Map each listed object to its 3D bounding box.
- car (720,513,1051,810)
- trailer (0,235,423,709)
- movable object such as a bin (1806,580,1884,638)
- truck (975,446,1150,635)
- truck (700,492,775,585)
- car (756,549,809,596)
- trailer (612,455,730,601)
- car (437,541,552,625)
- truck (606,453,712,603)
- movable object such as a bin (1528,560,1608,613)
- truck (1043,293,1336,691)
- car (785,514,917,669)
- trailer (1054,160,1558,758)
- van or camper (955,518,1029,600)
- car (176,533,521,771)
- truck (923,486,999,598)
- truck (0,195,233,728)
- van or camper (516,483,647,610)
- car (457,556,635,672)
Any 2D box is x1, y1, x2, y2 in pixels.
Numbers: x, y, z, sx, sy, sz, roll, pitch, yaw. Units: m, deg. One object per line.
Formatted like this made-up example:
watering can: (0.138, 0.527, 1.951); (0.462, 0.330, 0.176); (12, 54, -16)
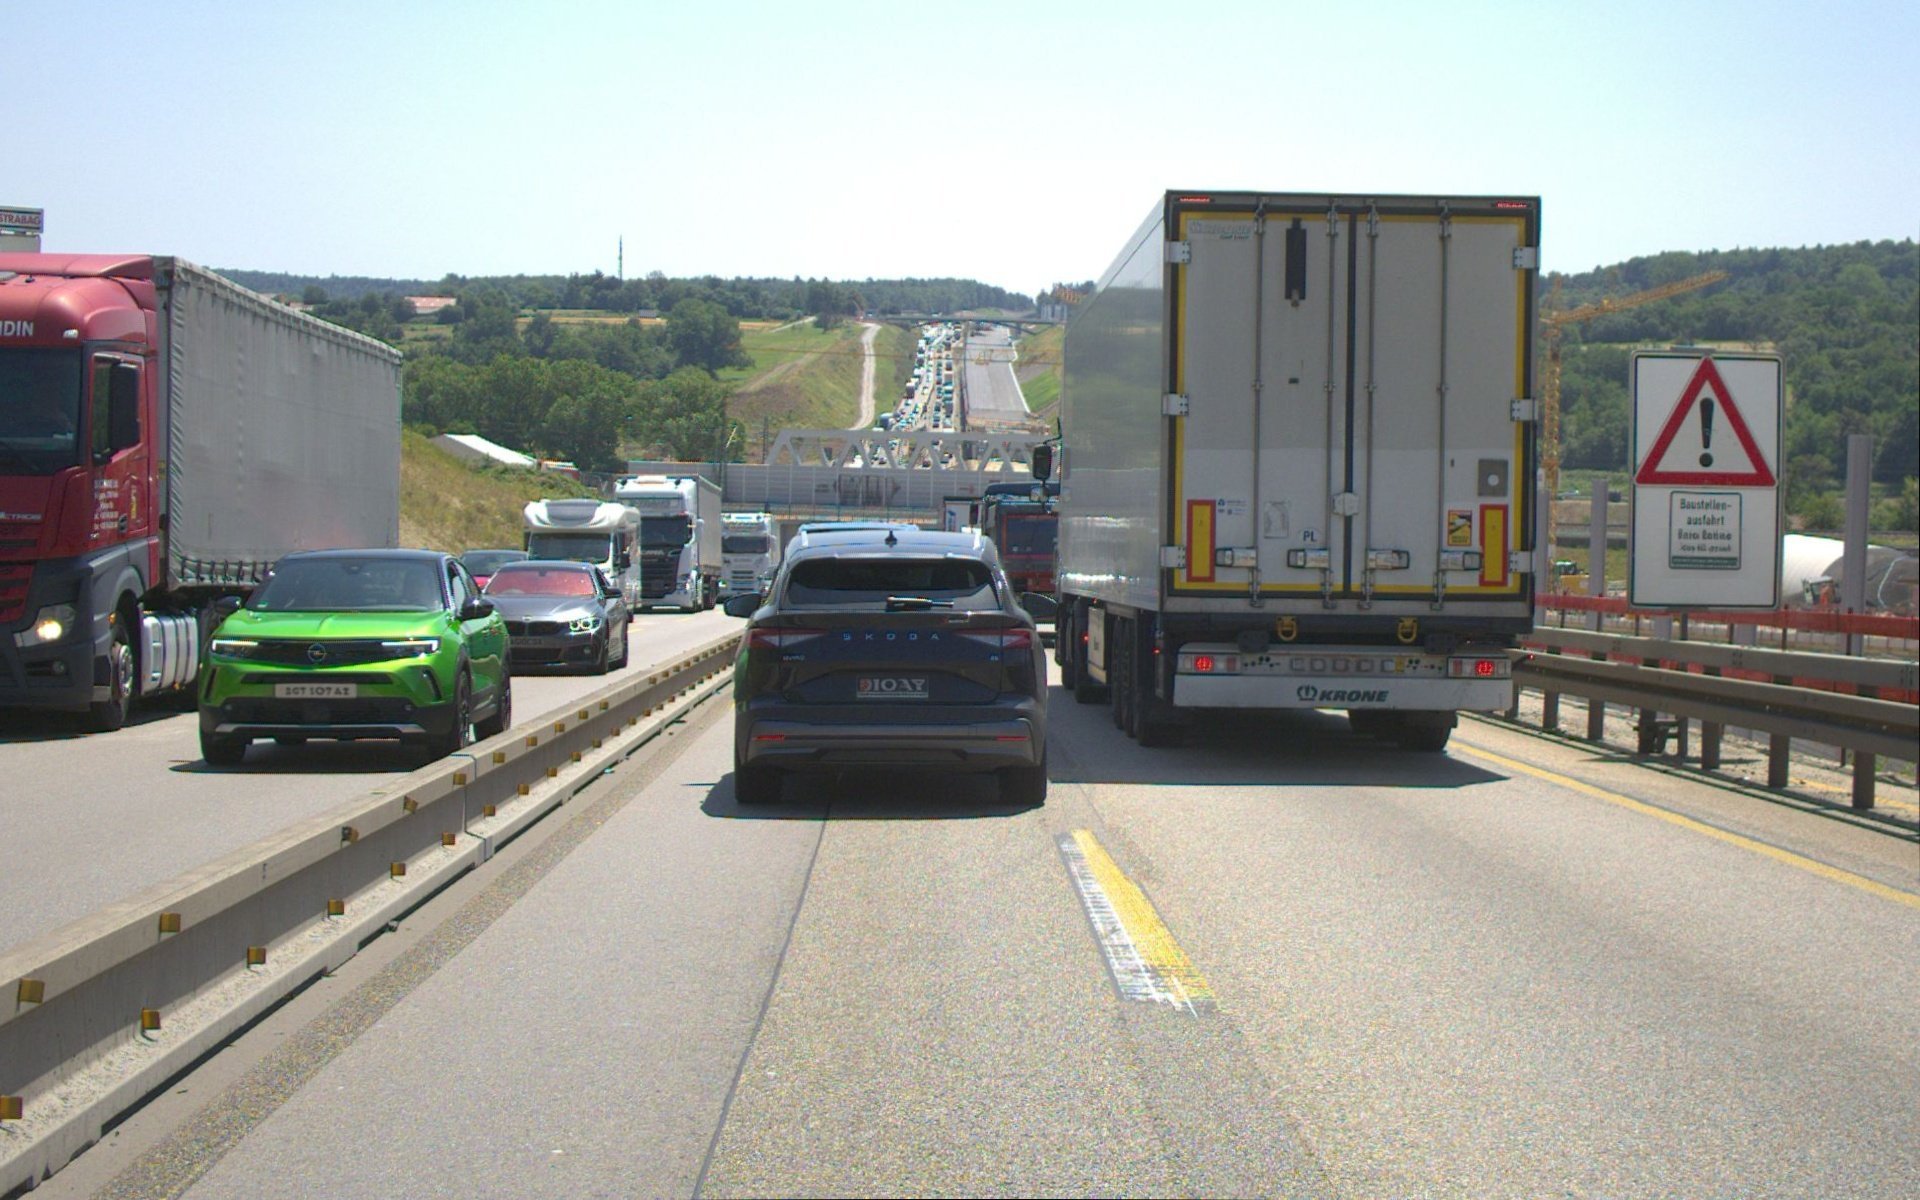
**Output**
car: (-0.435, 0.315, 20.682); (1.800, 1.615, 3.298); (1, 1, -1)
trailer: (-8.110, -1.230, 36.698); (2.856, 4.110, 13.438); (1, 1, -1)
movable object such as a bin: (35.025, 0.349, 136.122); (1.993, 2.231, 4.152); (1, 0, 0)
truck: (1.744, -1.017, 63.876); (2.814, 3.124, 12.837); (0, 0, 0)
truck: (-10.172, -2.793, 157.420); (3.239, 4.146, 4.247); (0, 0, -1)
car: (-5.799, -0.908, 112.794); (1.628, 1.474, 3.380); (1, 1, -1)
trailer: (-9.023, -2.218, 108.863); (2.810, 4.272, 14.036); (1, 1, -1)
car: (-8.907, -0.348, 66.000); (1.716, 1.546, 4.265); (0, 1, -1)
truck: (-8.837, -2.098, 101.311); (2.774, 4.272, 4.677); (1, 1, -1)
movable object such as a bin: (34.736, -0.798, 196.780); (2.887, 2.899, 9.479); (1, 0, 0)
truck: (2.407, -1.106, 37.561); (2.776, 4.044, 4.904); (0, 0, -1)
car: (-1.302, -0.127, 42.072); (1.475, 1.789, 3.297); (1, 1, 0)
trailer: (2.550, -0.968, 30.438); (2.801, 4.044, 14.117); (0, 0, -1)
van or camper: (0.900, -1.183, 98.944); (1.993, 2.237, 4.000); (2, 1, 0)
car: (-4.284, 0.310, 24.657); (1.754, 1.503, 4.000); (2, 1, -1)
truck: (-0.010, -2.154, 128.401); (2.517, 3.946, 7.600); (2, 1, -1)
truck: (-7.976, -1.119, 28.851); (2.821, 4.110, 4.599); (1, 1, -1)
van or camper: (-8.629, -1.225, 79.042); (2.334, 2.768, 7.518); (1, 1, -1)
car: (-5.106, 0.137, 42.887); (1.767, 1.358, 4.412); (1, 1, -1)
